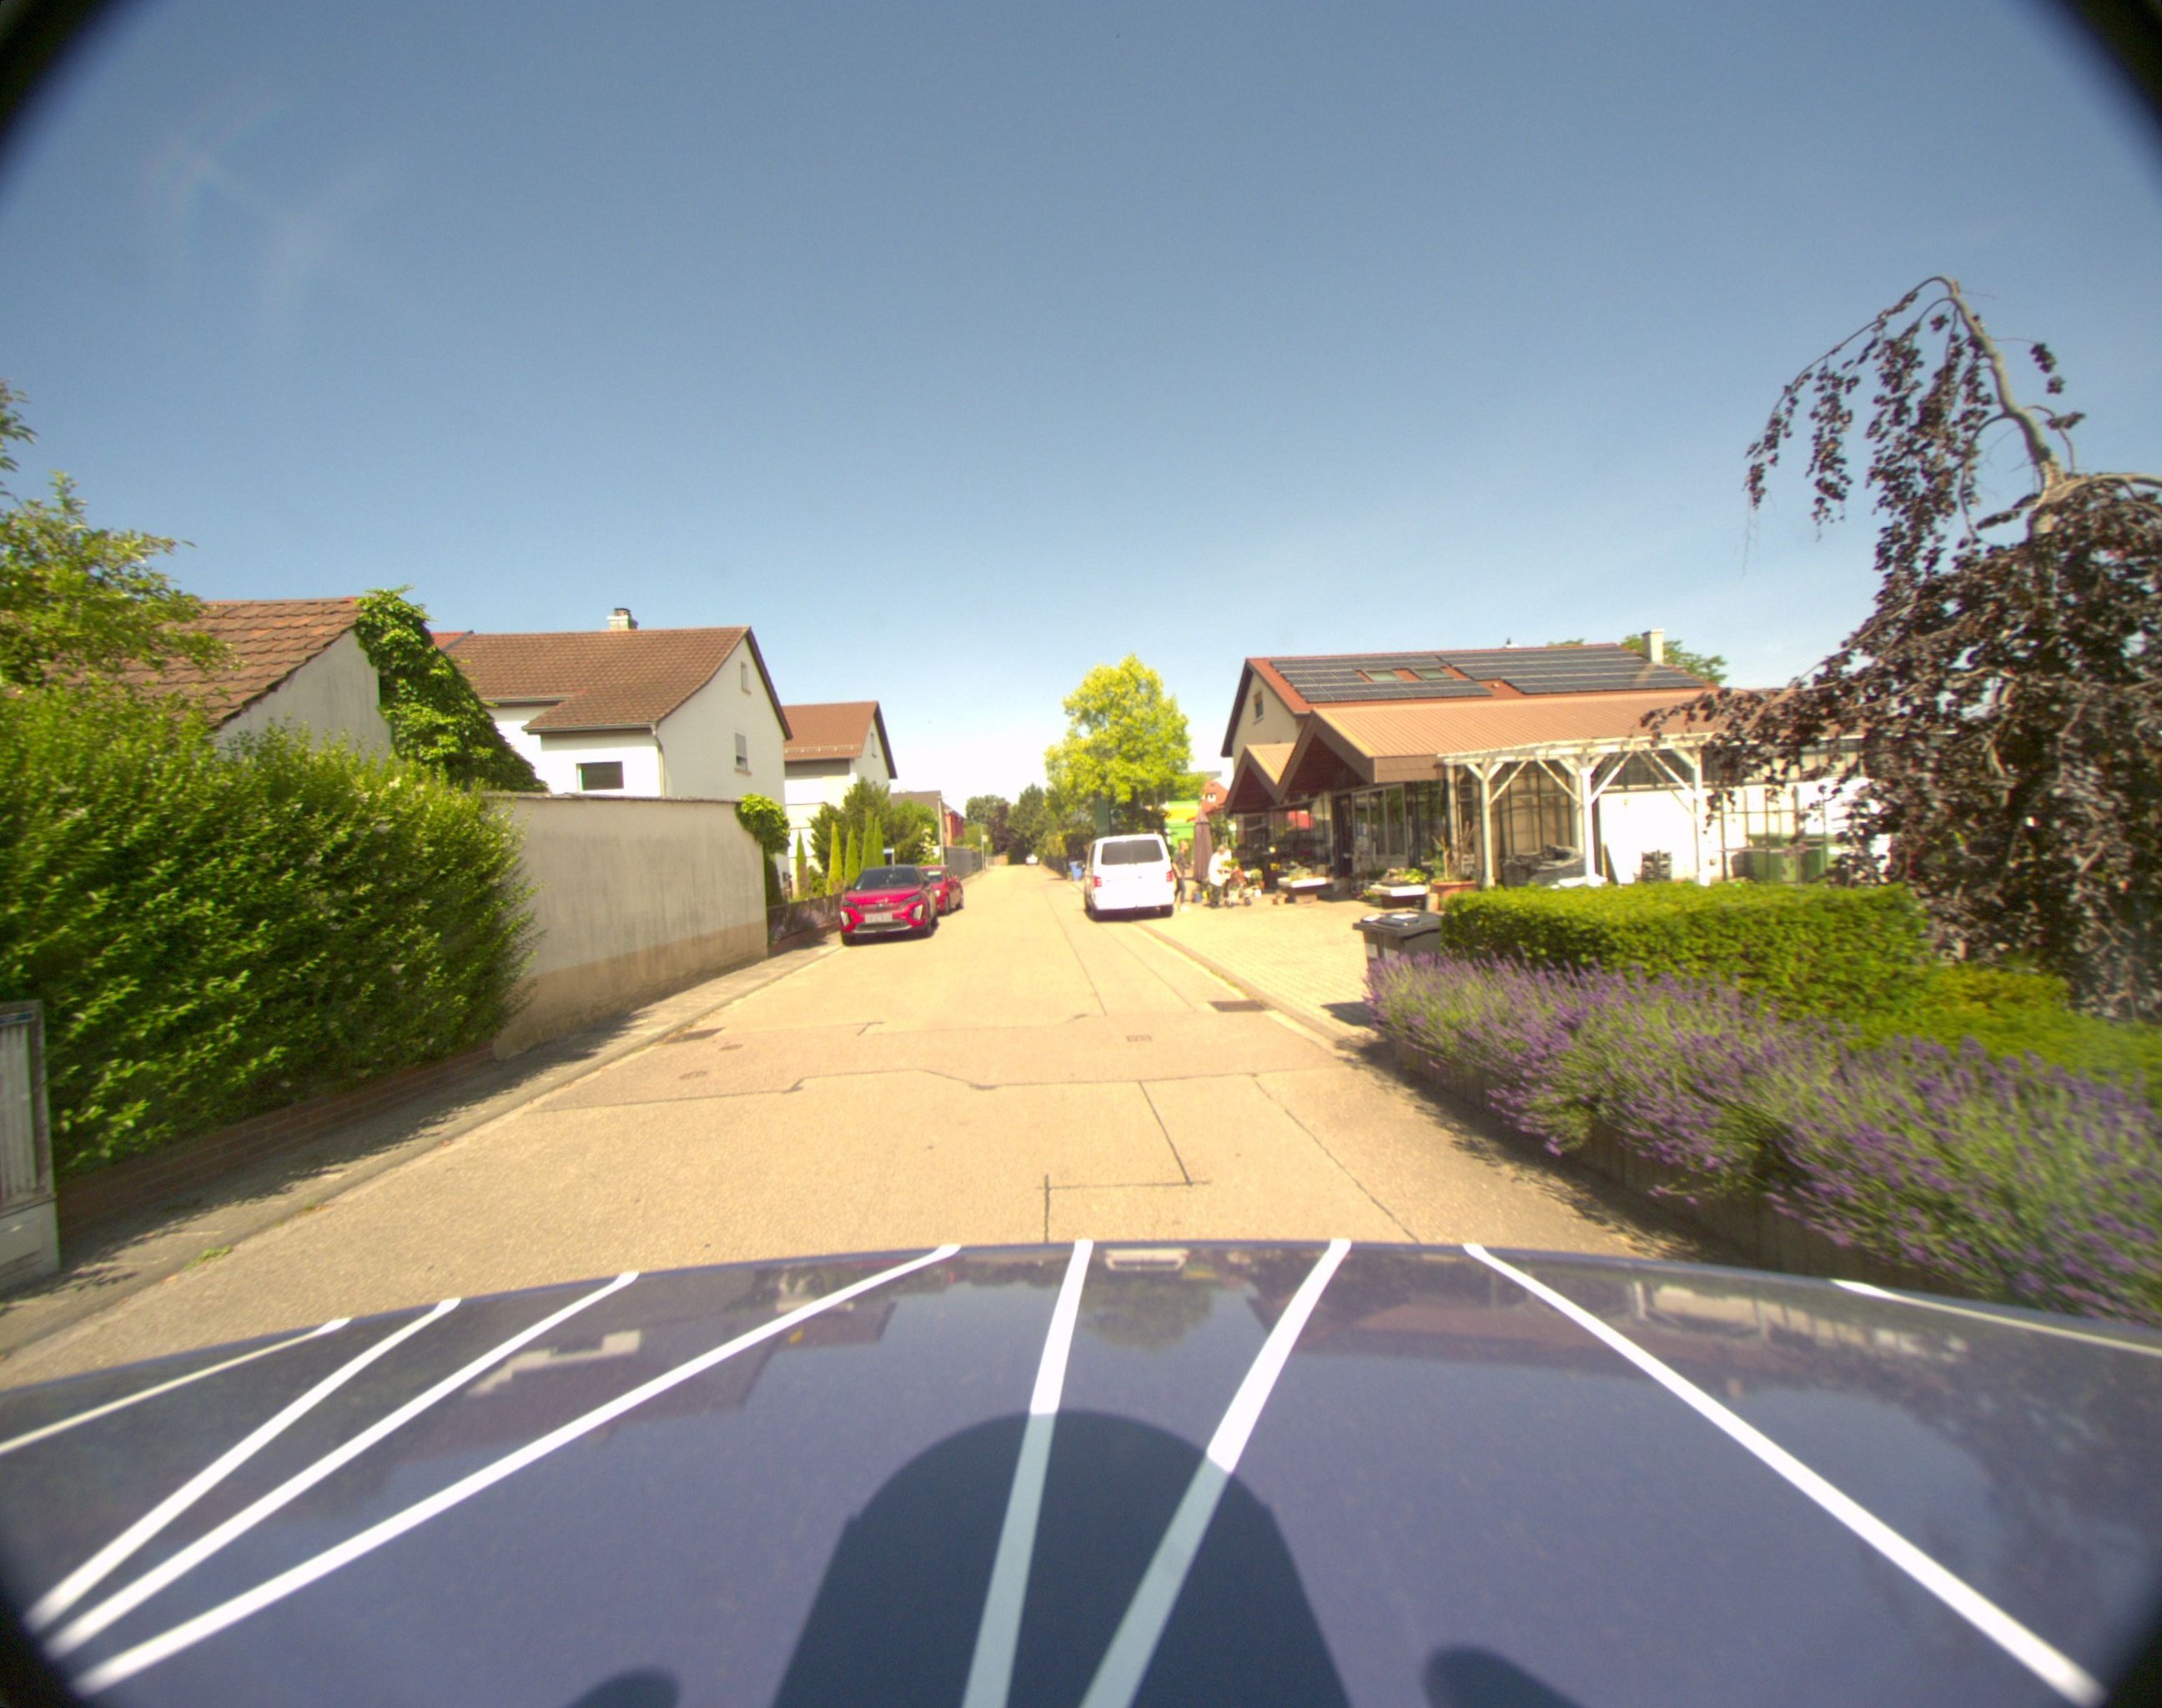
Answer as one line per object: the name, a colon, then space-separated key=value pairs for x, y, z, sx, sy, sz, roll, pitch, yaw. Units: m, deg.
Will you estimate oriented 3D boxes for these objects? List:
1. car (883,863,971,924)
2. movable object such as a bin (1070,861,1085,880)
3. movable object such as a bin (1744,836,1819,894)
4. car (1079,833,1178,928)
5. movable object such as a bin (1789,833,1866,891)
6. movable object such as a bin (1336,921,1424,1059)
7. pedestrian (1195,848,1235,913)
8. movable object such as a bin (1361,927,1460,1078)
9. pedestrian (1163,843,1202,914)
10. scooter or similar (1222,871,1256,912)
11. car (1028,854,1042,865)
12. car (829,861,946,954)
car: x=-4.597 y=1.119 z=23.190 sx=1.780 sy=1.471 sz=3.999 roll=-5 pitch=1 yaw=0
movable object such as a bin: x=-0.182 y=0.934 z=43.077 sx=0.733 sy=1.048 sz=0.612 roll=-4 pitch=1 yaw=-4
movable object such as a bin: x=13.653 y=0.205 z=14.819 sx=0.809 sy=1.062 sz=0.714 roll=-3 pitch=1 yaw=-10
car: x=1.052 y=0.569 z=19.315 sx=1.934 sy=2.002 sz=4.894 roll=-3 pitch=1 yaw=-2
movable object such as a bin: x=14.500 y=0.153 z=14.771 sx=0.809 sy=1.062 sz=0.714 roll=-3 pitch=1 yaw=-10
movable object such as a bin: x=2.436 y=1.094 z=6.224 sx=0.495 sy=1.018 sz=0.447 roll=-3 pitch=1 yaw=-4
pedestrian: x=3.311 y=0.653 z=18.746 sx=0.718 sy=1.530 sz=0.643 roll=-3 pitch=1 yaw=30
movable object such as a bin: x=2.468 y=1.095 z=5.717 sx=0.495 sy=1.018 sz=0.447 roll=-3 pitch=1 yaw=-4
pedestrian: x=2.564 y=0.606 z=19.111 sx=0.690 sy=1.721 sz=0.643 roll=-3 pitch=1 yaw=27
scooter or similar: x=3.842 y=0.918 z=18.454 sx=0.601 sy=0.940 sz=0.622 roll=-2 pitch=1 yaw=30
car: x=-6.348 y=0.743 z=104.517 sx=1.758 sy=1.478 sz=4.373 roll=-3 pitch=1 yaw=-4
car: x=-4.066 y=1.042 z=16.582 sx=1.828 sy=1.606 sz=3.997 roll=-4 pitch=1 yaw=-6
